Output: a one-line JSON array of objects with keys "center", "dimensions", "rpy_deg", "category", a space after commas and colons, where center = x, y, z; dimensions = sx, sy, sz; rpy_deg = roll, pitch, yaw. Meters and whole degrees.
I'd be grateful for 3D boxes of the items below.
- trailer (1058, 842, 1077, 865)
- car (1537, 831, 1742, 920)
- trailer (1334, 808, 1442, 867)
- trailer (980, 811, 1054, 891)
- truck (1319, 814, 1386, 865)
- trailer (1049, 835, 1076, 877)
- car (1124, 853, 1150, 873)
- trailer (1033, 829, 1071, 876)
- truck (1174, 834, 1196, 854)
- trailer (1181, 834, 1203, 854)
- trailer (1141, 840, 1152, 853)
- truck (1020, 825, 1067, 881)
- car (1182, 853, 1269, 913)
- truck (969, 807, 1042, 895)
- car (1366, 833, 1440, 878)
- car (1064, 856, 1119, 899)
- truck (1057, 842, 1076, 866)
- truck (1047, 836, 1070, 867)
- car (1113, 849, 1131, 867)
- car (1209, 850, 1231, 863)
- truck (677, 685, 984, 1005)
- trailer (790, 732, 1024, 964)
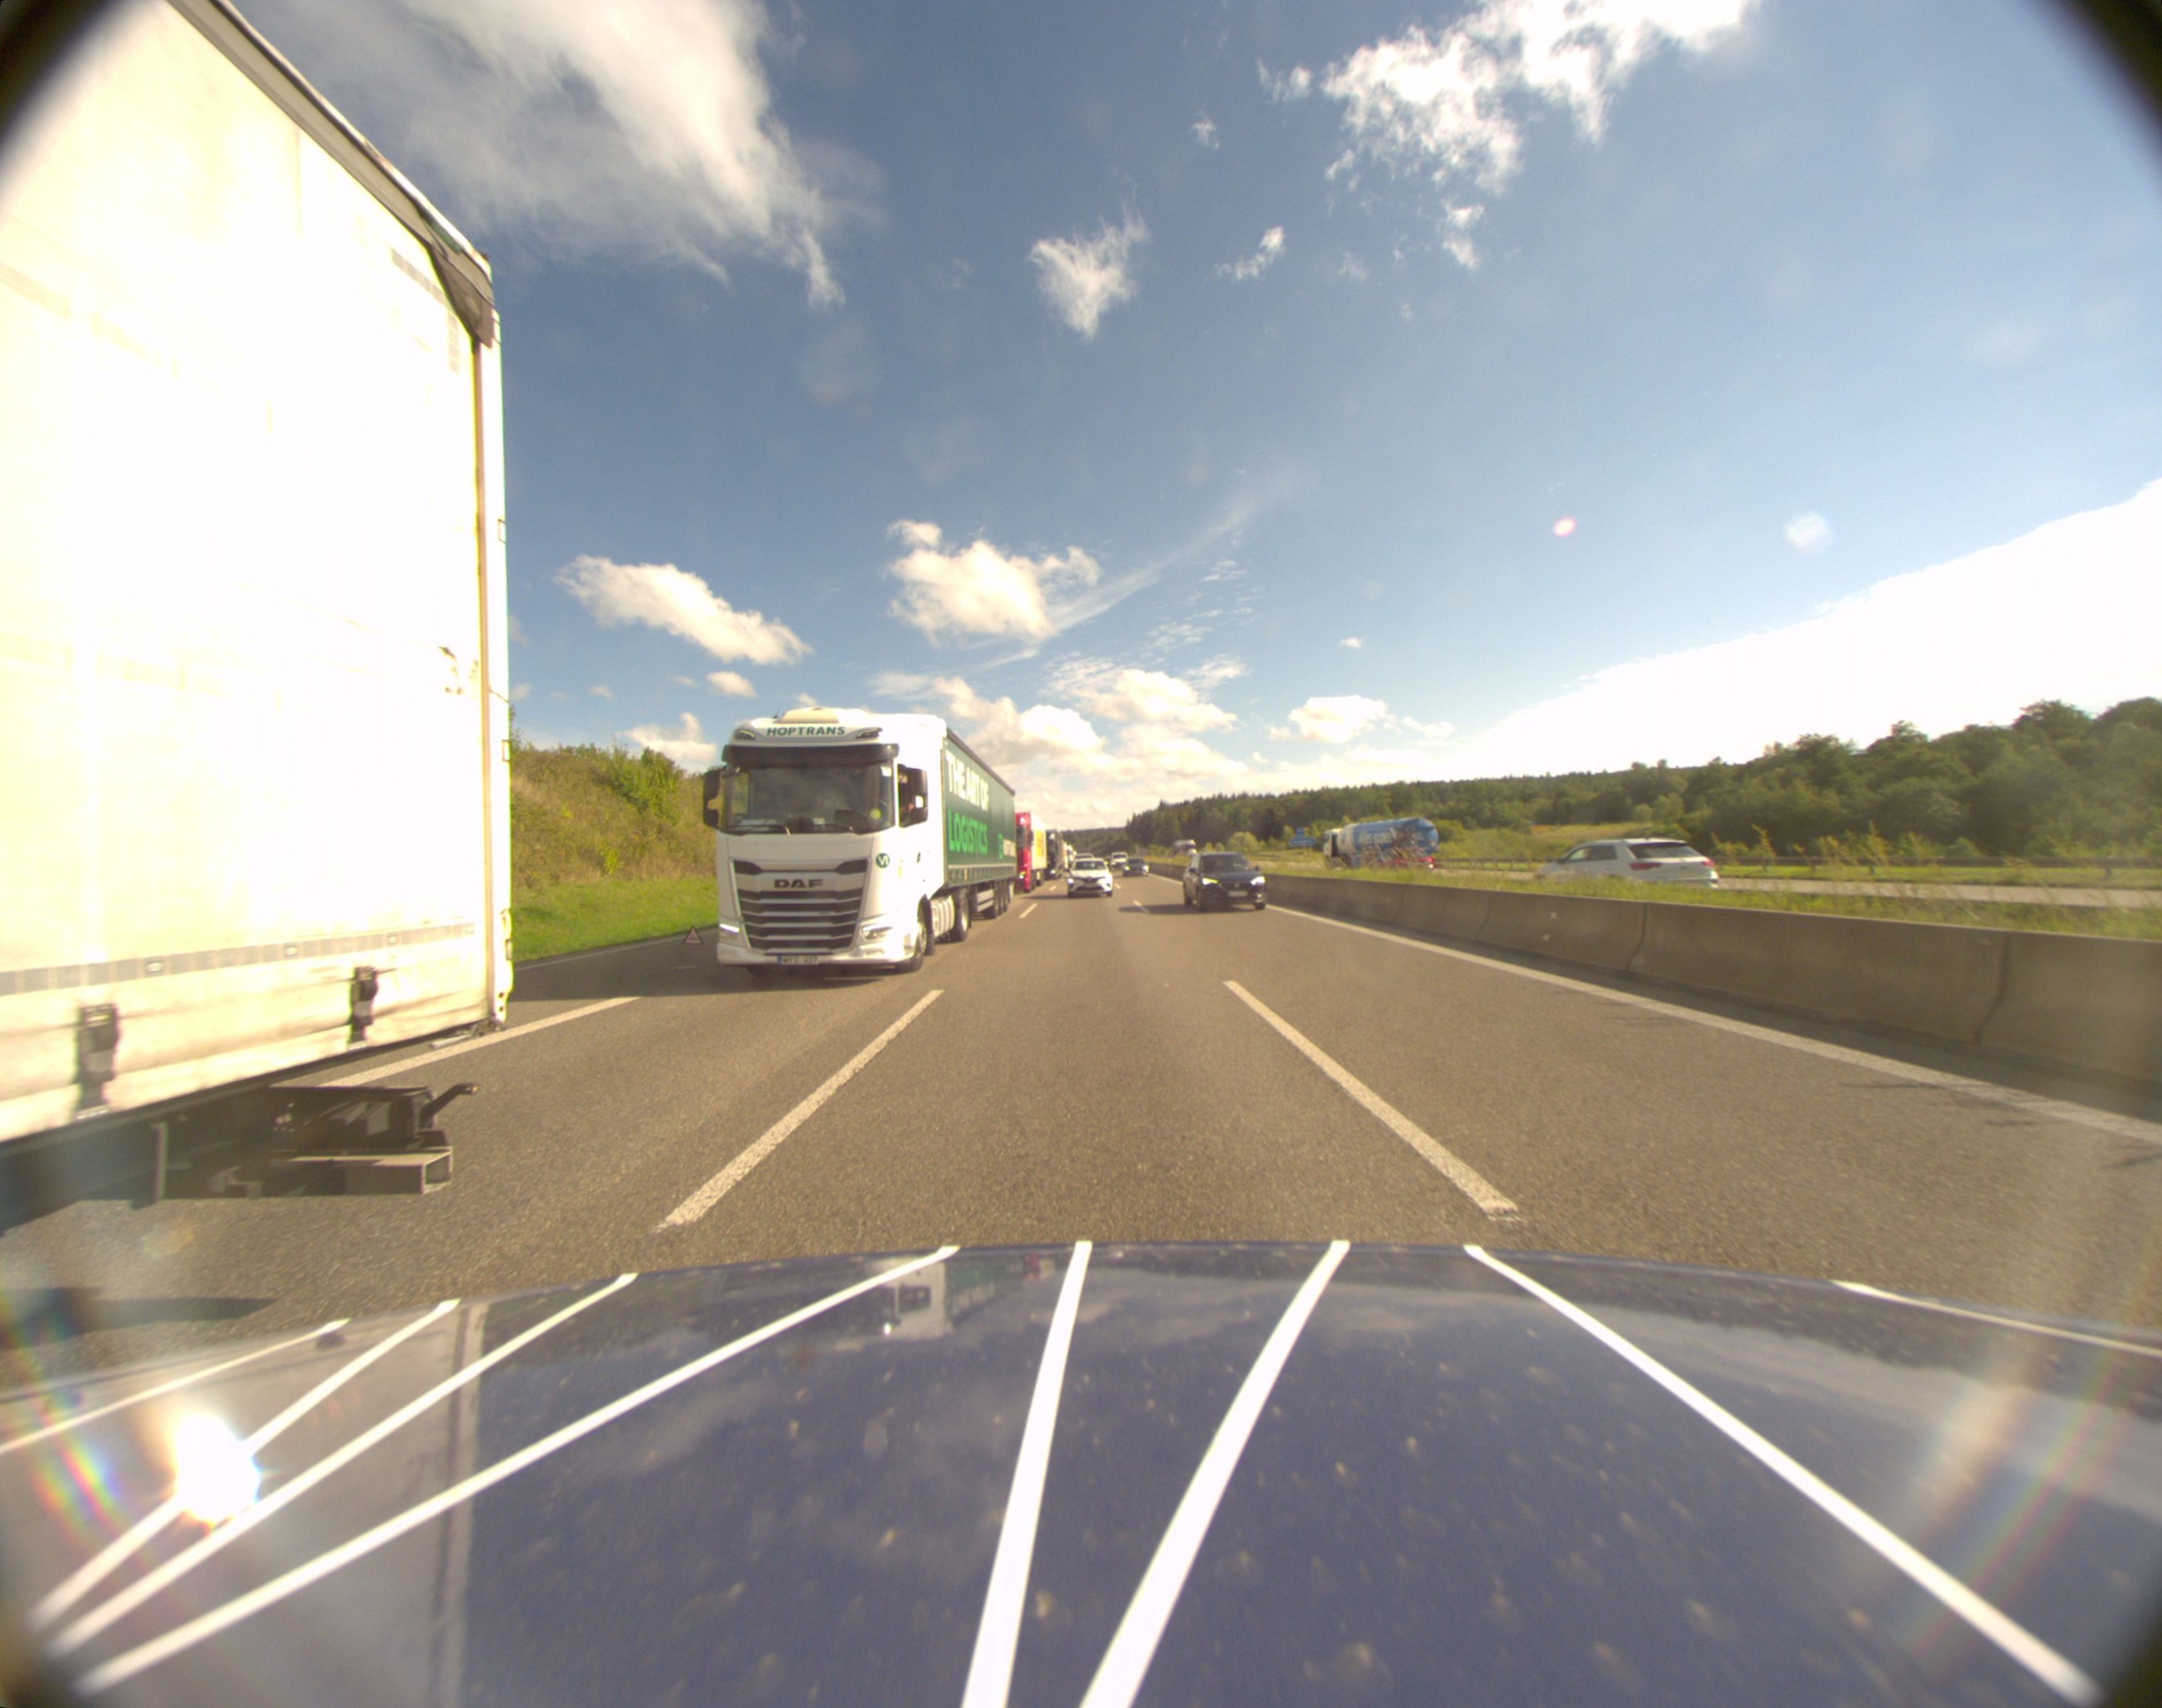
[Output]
[{"center": [-2.340, -0.071, 139.766], "dimensions": [2.652, 3.911, 11.175], "rpy_deg": [-5, 0, 2], "category": "trailer"}, {"center": [12.041, 0.407, 16.729], "dimensions": [1.675, 1.615, 3.766], "rpy_deg": [-5, 0, 1], "category": "car"}, {"center": [19.202, -0.961, 48.494], "dimensions": [2.327, 3.265, 10.874], "rpy_deg": [-2, 0, 0], "category": "trailer"}, {"center": [-3.488, -0.221, 45.061], "dimensions": [2.798, 3.916, 13.069], "rpy_deg": [-3, 0, 1], "category": "trailer"}, {"center": [19.151, -1.004, 54.001], "dimensions": [2.323, 3.255, 6.104], "rpy_deg": [-5, 0, 0], "category": "truck"}, {"center": [-1.932, 0.206, 82.637], "dimensions": [2.418, 4.045, 8.926], "rpy_deg": [-5, 0, 0], "category": "trailer"}, {"center": [4.401, 0.709, 60.104], "dimensions": [1.779, 1.451, 4.158], "rpy_deg": [-2, 0, 1], "category": "car"}, {"center": [-2.627, -0.114, 71.652], "dimensions": [2.722, 3.937, 8.712], "rpy_deg": [-5, 0, 2], "category": "trailer"}, {"center": [20.735, -1.946, 151.722], "dimensions": [2.838, 3.667, 11.131], "rpy_deg": [-2, 0, 1], "category": "truck"}, {"center": [20.647, -1.837, 141.672], "dimensions": [2.806, 3.508, 8.953], "rpy_deg": [-2, 0, 1], "category": "trailer"}, {"center": [21.479, -2.430, 250.703], "dimensions": [2.839, 3.969, 13.550], "rpy_deg": [-3, 0, 3], "category": "trailer"}, {"center": [-2.906, -0.123, 62.213], "dimensions": [2.747, 4.015, 10.202], "rpy_deg": [-5, 0, 2], "category": "truck"}, {"center": [4.096, 0.759, 22.146], "dimensions": [1.779, 1.533, 4.158], "rpy_deg": [-2, 0, 1], "category": "car"}, {"center": [-3.619, -0.176, 37.933], "dimensions": [2.809, 3.916, 5.825], "rpy_deg": [-3, 1, 1], "category": "truck"}, {"center": [15.304, 0.048, 36.342], "dimensions": [1.764, 1.871, 4.000], "rpy_deg": [-5, 0, 1], "category": "car"}, {"center": [0.485, 0.905, 31.219], "dimensions": [2.026, 1.510, 5.299], "rpy_deg": [-3, 0, 2], "category": "car"}, {"center": [-2.554, -0.050, 133.560], "dimensions": [2.655, 3.901, 6.943], "rpy_deg": [-5, 0, 2], "category": "truck"}, {"center": [-3.187, -0.372, 109.953], "dimensions": [2.654, 4.066, 6.491], "rpy_deg": [-5, 1, 2], "category": "truck"}, {"center": [4.441, 0.443, 82.965], "dimensions": [1.779, 1.923, 4.214], "rpy_deg": [-2, 0, 1], "category": "car"}, {"center": [15.259, 0.267, 83.712], "dimensions": [1.694, 1.274, 3.708], "rpy_deg": [-5, 0, 1], "category": "car"}, {"center": [-3.533, -0.127, 12.853], "dimensions": [2.653, 3.846, 6.995], "rpy_deg": [-2, 1, 1], "category": "truck"}, {"center": [-3.454, -0.149, 19.578], "dimensions": [2.668, 3.846, 13.393], "rpy_deg": [-2, 0, 1], "category": "trailer"}]
